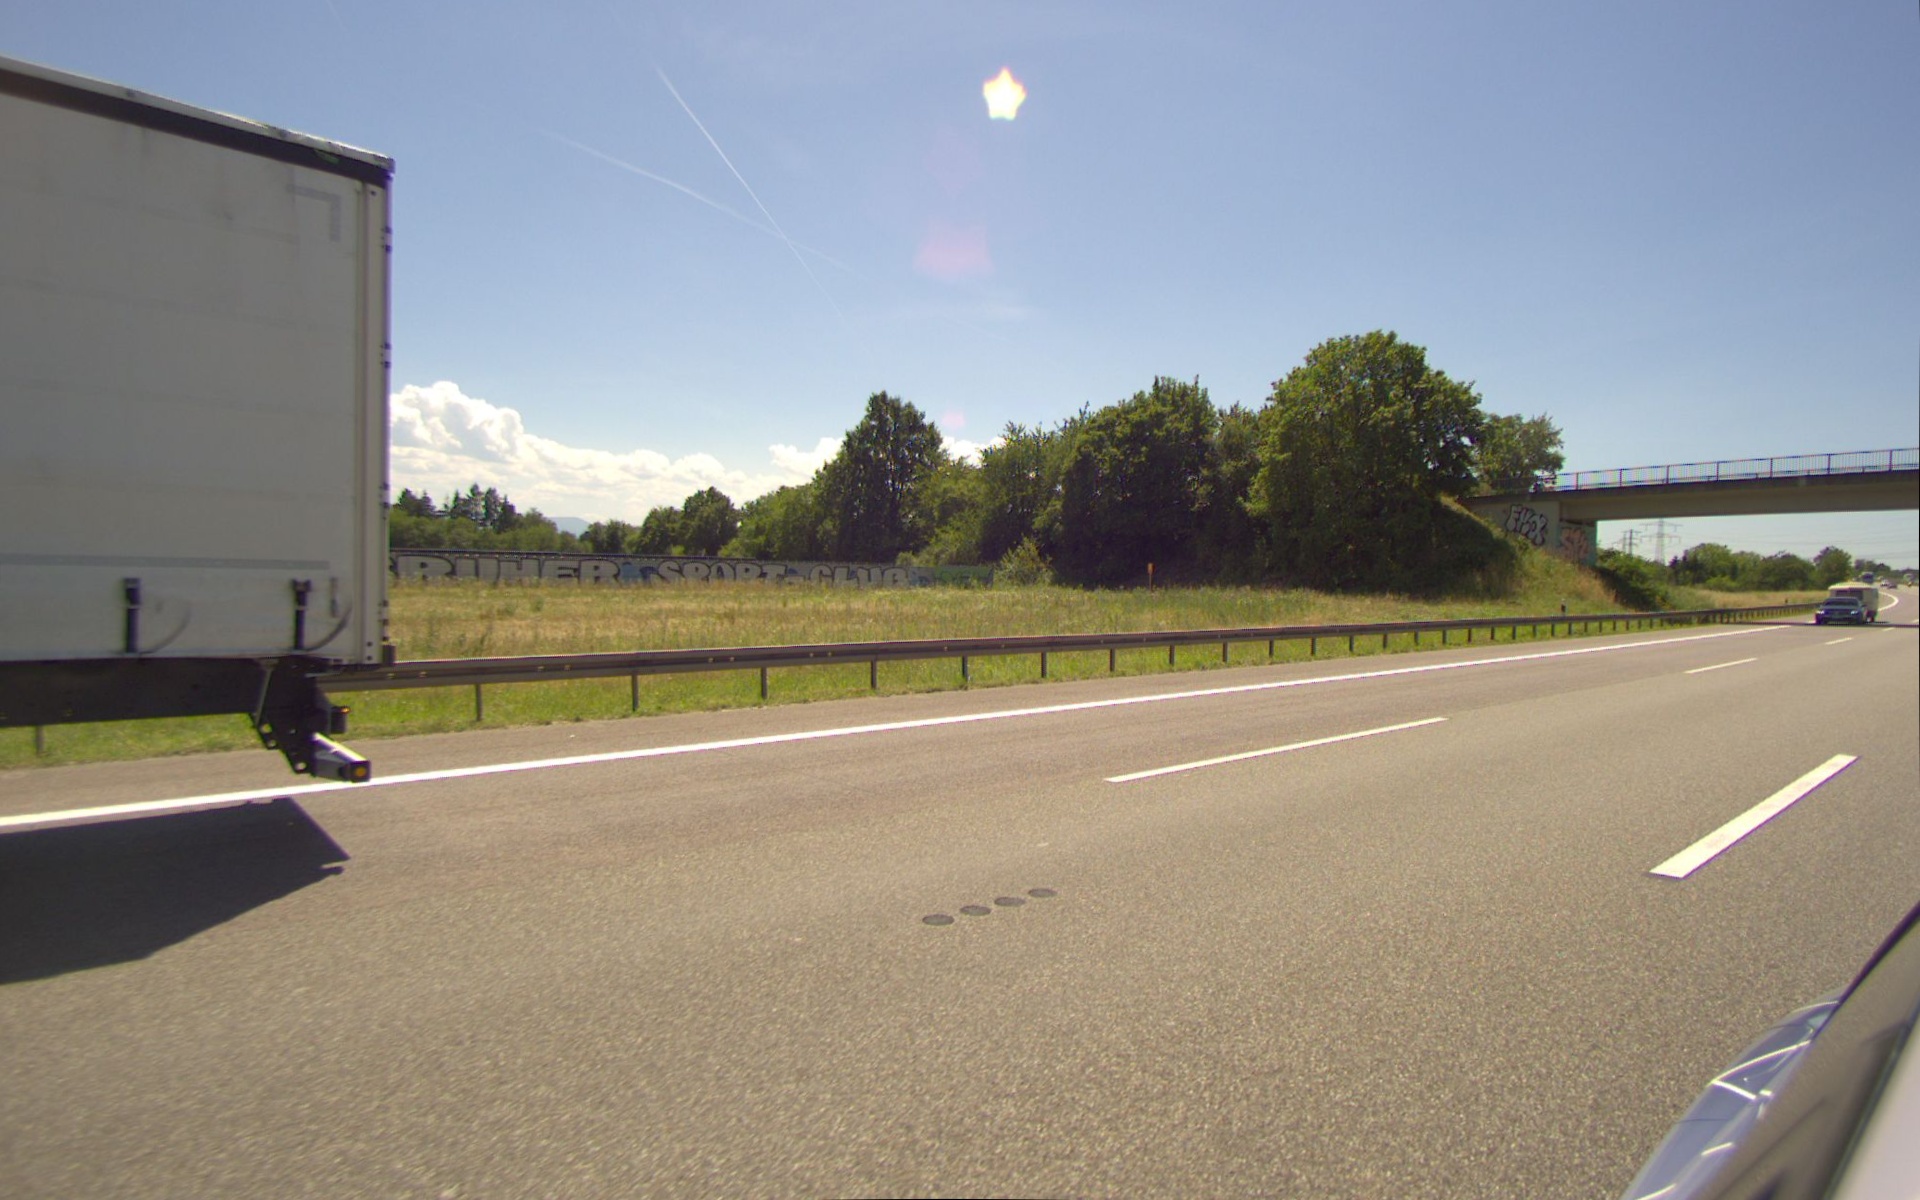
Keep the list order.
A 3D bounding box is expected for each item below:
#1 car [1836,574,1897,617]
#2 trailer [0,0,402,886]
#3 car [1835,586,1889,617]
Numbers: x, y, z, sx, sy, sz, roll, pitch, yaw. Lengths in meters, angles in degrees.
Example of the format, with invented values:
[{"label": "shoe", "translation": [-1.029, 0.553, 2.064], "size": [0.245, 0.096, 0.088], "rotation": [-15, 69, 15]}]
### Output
[{"label": "car", "translation": [50.874, -0.311, 56.742], "size": [4.870, 2.294, 2.184], "rotation": [-1, 2, -44]}, {"label": "trailer", "translation": [-9.113, -0.740, 2.401], "size": [13.403, 4.305, 2.600], "rotation": [-1, 1, -41]}, {"label": "car", "translation": [46.387, 0.036, 51.999], "size": [3.934, 1.494, 1.781], "rotation": [-1, 2, -44]}]
